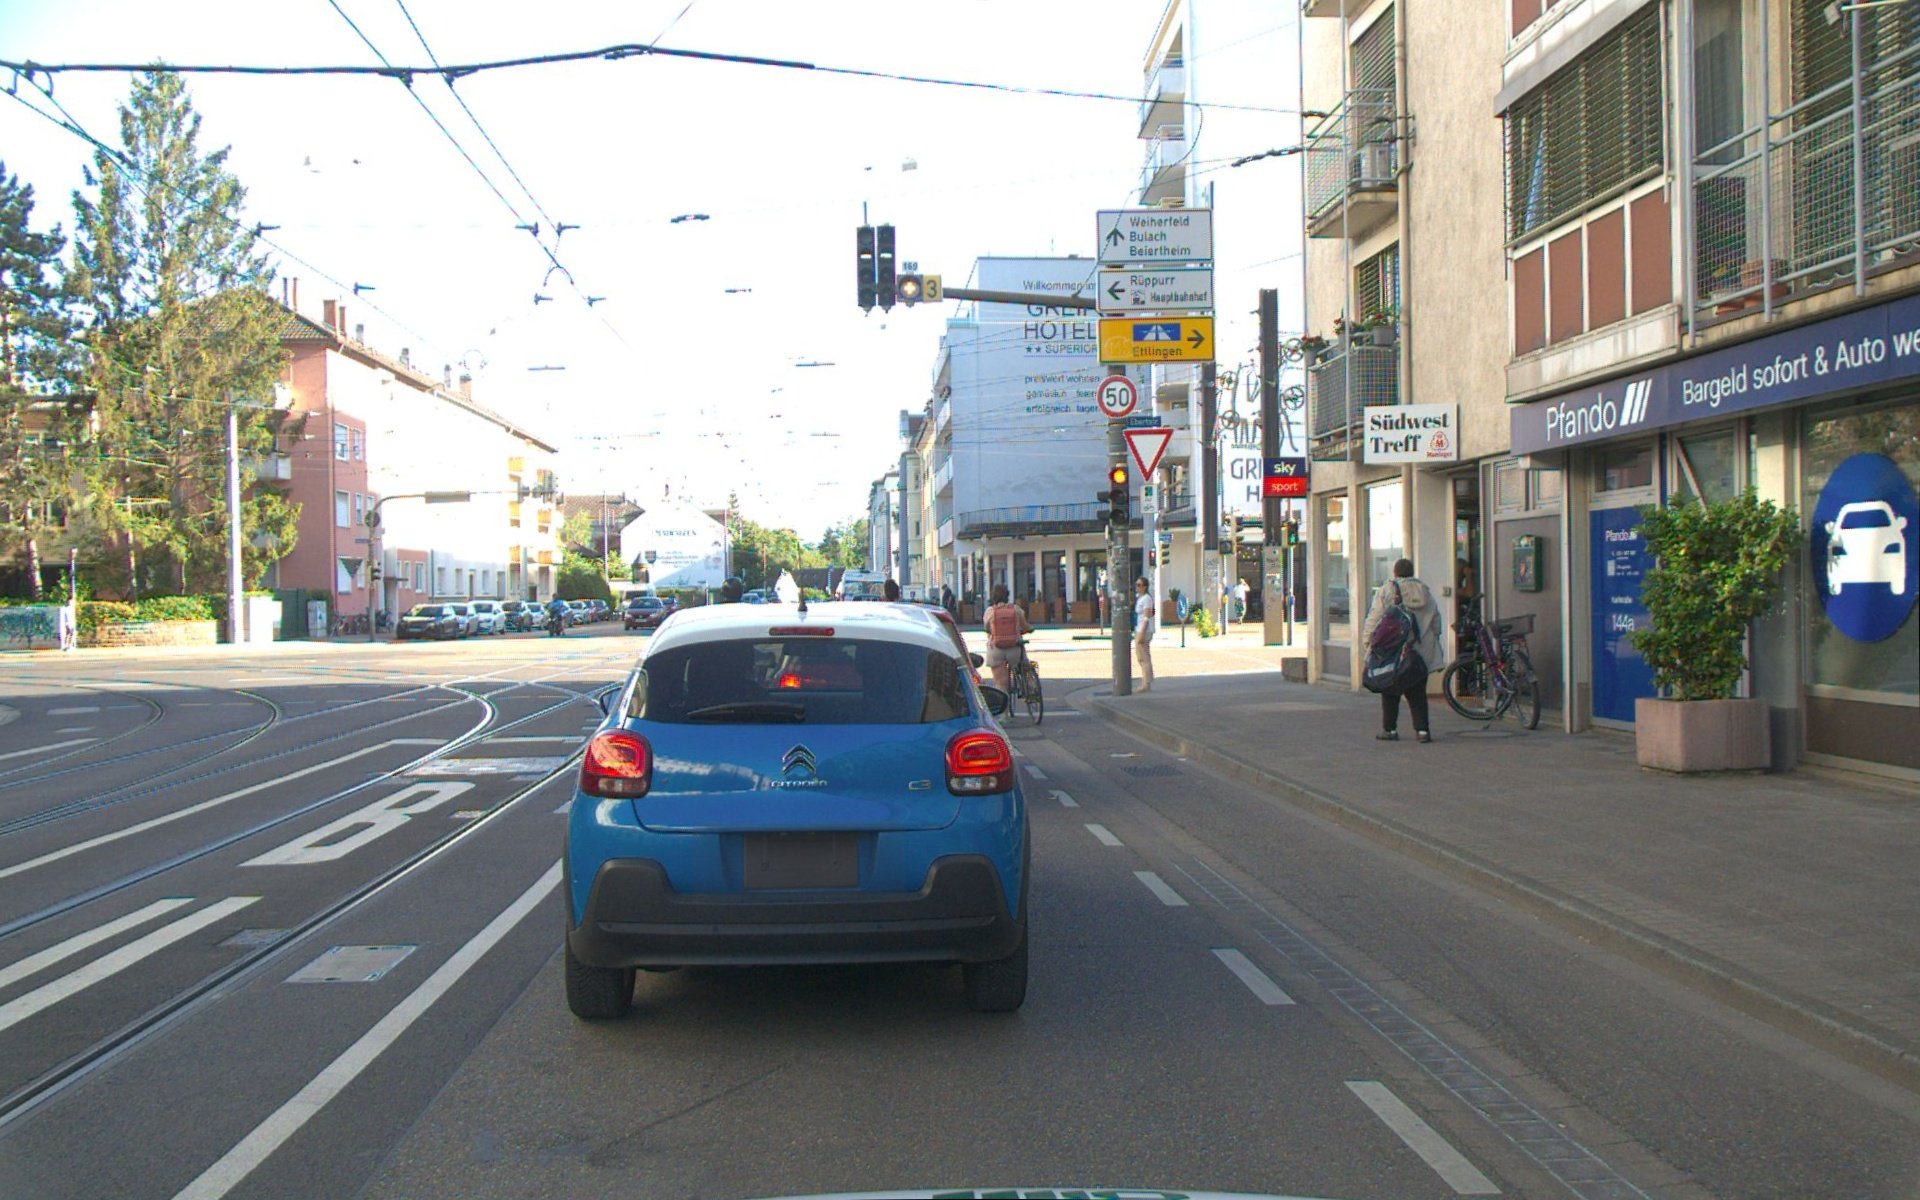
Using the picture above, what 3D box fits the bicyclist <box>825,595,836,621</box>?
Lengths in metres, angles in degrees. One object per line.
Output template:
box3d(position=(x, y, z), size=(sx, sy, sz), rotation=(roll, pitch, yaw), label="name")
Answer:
box3d(position=(-10.598, 0.664, 135.143), size=(0.774, 2.060, 0.986), rotation=(1, -1, 0), label="bicyclist")

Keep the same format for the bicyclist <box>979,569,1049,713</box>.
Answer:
box3d(position=(0.675, 0.490, 20.378), size=(0.794, 1.721, 0.935), rotation=(1, 0, 4), label="bicyclist")

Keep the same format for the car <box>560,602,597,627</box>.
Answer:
box3d(position=(-24.803, 0.938, 107.649), size=(1.833, 1.604, 3.995), rotation=(1, 0, -6), label="car")

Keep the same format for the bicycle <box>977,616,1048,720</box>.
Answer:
box3d(position=(0.679, 0.809, 20.521), size=(0.794, 1.202, 2.065), rotation=(1, 0, 4), label="bicycle")

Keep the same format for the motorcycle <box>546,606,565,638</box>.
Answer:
box3d(position=(-16.321, 0.888, 66.723), size=(0.700, 1.241, 1.958), rotation=(-1, -2, -14), label="motorcycle")

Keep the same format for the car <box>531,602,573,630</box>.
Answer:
box3d(position=(-24.081, 0.910, 97.756), size=(1.833, 1.604, 3.995), rotation=(1, 0, -6), label="car")

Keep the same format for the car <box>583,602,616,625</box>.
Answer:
box3d(position=(-25.812, 0.964, 118.568), size=(1.833, 1.604, 3.995), rotation=(1, 0, -6), label="car")

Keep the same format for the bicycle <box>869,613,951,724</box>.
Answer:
box3d(position=(-0.604, 0.792, 19.917), size=(0.921, 1.245, 2.094), rotation=(1, 0, -2), label="bicycle")

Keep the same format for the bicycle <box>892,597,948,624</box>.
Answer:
box3d(position=(-1.655, 0.447, 68.256), size=(2.208, 1.019, 0.855), rotation=(-2, 0, -6), label="bicycle")

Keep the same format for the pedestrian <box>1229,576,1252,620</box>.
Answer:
box3d(position=(10.514, -0.065, 62.072), size=(0.599, 1.636, 0.666), rotation=(1, -1, 37), label="pedestrian")

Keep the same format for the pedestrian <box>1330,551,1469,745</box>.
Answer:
box3d(position=(3.890, 0.403, 14.695), size=(0.868, 1.619, 0.809), rotation=(-3, 1, -9), label="pedestrian")

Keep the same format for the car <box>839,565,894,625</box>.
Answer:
box3d(position=(-4.147, -0.214, 72.763), size=(2.221, 2.525, 5.002), rotation=(0, 0, -5), label="car")

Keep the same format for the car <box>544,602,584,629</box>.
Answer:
box3d(position=(-24.466, 0.921, 102.232), size=(1.833, 1.604, 3.995), rotation=(1, 0, -6), label="car")

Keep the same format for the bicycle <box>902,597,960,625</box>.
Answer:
box3d(position=(-1.146, 0.446, 65.787), size=(2.208, 1.019, 0.855), rotation=(-2, 0, -6), label="bicycle")

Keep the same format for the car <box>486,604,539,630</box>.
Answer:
box3d(position=(-23.142, 0.869, 85.704), size=(1.909, 1.261, 4.278), rotation=(1, 0, -5), label="car")

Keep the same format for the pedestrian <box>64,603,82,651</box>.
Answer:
box3d(position=(-29.445, 0.902, 54.911), size=(0.510, 1.596, 0.568), rotation=(1, -1, -28), label="pedestrian")

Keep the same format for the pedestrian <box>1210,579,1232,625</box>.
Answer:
box3d(position=(9.484, 0.080, 60.151), size=(0.598, 1.636, 0.668), rotation=(1, -1, 27), label="pedestrian")

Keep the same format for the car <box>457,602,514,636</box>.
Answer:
box3d(position=(-22.621, 0.892, 78.996), size=(1.707, 1.553, 4.226), rotation=(1, 0, -4), label="car")

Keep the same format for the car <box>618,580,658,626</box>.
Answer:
box3d(position=(-23.091, 0.235, 118.759), size=(2.370, 3.197, 3.486), rotation=(1, 0, -4), label="car")

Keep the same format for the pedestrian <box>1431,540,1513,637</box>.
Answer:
box3d(position=(5.998, -0.137, 19.377), size=(0.618, 1.106, 0.670), rotation=(-2, 1, -38), label="pedestrian")

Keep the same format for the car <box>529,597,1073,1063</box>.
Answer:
box3d(position=(-0.397, 0.732, 7.143), size=(1.700, 1.478, 3.664), rotation=(0, 0, 5), label="car")

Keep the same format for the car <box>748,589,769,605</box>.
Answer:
box3d(position=(-22.803, -0.300, 187.495), size=(2.033, 1.793, 5.032), rotation=(1, 0, -4), label="car")

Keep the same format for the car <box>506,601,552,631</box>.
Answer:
box3d(position=(-23.852, 0.889, 91.699), size=(1.833, 1.604, 3.995), rotation=(1, 0, -6), label="car")

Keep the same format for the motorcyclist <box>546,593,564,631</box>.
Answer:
box3d(position=(-16.351, 0.486, 66.833), size=(0.681, 1.523, 0.682), rotation=(-1, -2, -14), label="motorcyclist")

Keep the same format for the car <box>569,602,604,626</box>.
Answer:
box3d(position=(-25.356, 0.947, 112.390), size=(1.833, 1.604, 3.995), rotation=(1, 0, -6), label="car")

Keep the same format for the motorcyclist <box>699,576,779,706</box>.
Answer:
box3d(position=(-2.621, 0.483, 19.717), size=(0.837, 1.514, 0.729), rotation=(1, -1, -1), label="motorcyclist")

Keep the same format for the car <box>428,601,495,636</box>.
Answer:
box3d(position=(-22.340, 0.816, 74.261), size=(1.865, 1.462, 4.100), rotation=(1, 0, -3), label="car")

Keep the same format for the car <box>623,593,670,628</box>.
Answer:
box3d(position=(-14.417, 0.483, 76.190), size=(1.744, 1.512, 3.824), rotation=(-1, 0, -5), label="car")

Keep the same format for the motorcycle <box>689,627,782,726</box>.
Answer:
box3d(position=(-2.620, 0.874, 19.495), size=(0.837, 1.065, 1.942), rotation=(1, 0, -1), label="motorcycle")

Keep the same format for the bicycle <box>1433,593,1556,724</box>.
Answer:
box3d(position=(5.094, 0.535, 15.865), size=(0.486, 1.182, 1.776), rotation=(-1, 0, -4), label="bicycle")

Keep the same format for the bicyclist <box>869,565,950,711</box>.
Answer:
box3d(position=(-0.608, 0.448, 19.885), size=(0.921, 1.702, 1.079), rotation=(1, 0, -2), label="bicyclist")

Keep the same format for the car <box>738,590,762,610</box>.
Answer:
box3d(position=(-21.504, 0.022, 169.539), size=(2.174, 1.965, 4.945), rotation=(1, 0, -4), label="car")

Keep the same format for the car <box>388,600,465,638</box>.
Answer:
box3d(position=(-22.101, 0.819, 68.711), size=(2.112, 1.457, 4.435), rotation=(1, -2, -5), label="car")

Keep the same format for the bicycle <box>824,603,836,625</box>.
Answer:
box3d(position=(-10.605, 1.139, 135.141), size=(0.774, 1.699, 2.230), rotation=(1, 0, 1), label="bicycle")

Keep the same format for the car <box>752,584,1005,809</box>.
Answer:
box3d(position=(-0.742, 0.669, 13.468), size=(1.750, 1.548, 3.758), rotation=(1, 1, -5), label="car")

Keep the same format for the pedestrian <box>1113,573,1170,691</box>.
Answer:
box3d(position=(2.664, 0.466, 24.185), size=(0.528, 1.652, 0.733), rotation=(-5, -2, 21), label="pedestrian")

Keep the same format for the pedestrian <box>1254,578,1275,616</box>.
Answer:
box3d(position=(11.824, -0.102, 64.223), size=(0.595, 1.469, 0.553), rotation=(1, -1, 33), label="pedestrian")

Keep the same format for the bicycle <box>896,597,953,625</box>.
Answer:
box3d(position=(-1.435, 0.438, 67.150), size=(2.208, 1.019, 0.855), rotation=(-2, 0, -6), label="bicycle")

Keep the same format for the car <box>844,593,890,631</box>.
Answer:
box3d(position=(-3.818, 0.482, 67.775), size=(1.626, 1.456, 3.882), rotation=(1, 0, -7), label="car")
